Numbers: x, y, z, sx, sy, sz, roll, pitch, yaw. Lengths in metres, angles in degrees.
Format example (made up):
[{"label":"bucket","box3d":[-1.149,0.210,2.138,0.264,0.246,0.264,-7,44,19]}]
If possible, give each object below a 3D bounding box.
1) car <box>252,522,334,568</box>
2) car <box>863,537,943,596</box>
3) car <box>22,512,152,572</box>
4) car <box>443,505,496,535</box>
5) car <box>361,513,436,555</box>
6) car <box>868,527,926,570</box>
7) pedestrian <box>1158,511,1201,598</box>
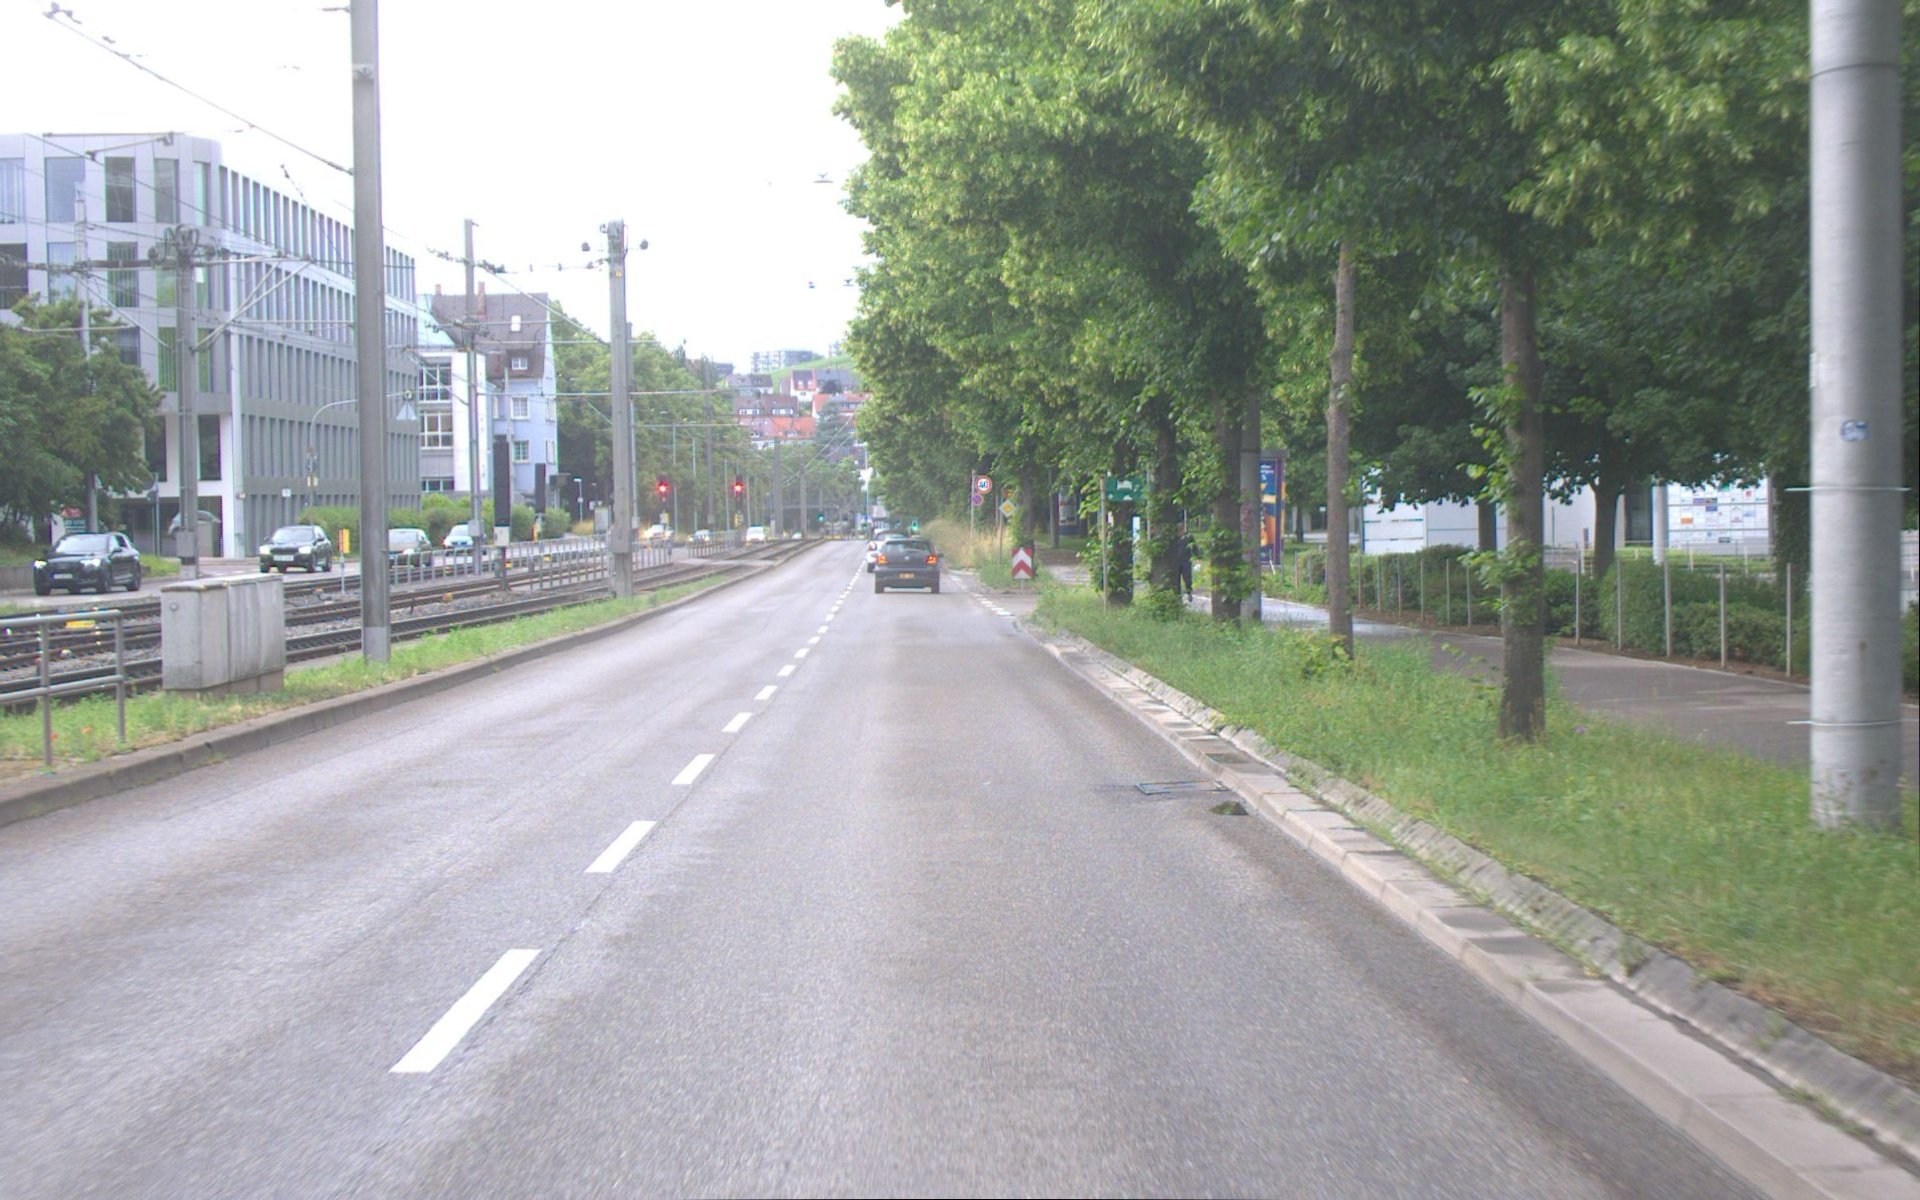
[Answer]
[{"label":"car","box3d":[-23.502,-1.955,121.272,1.948,1.590,4.847,-1,1,0]},{"label":"car","box3d":[-1.459,-0.888,88.777,1.982,1.435,4.474,-1,1,-1]},{"label":"car","box3d":[-24.058,-1.624,94.927,2.089,1.583,5.158,-1,1,2]},{"label":"car","box3d":[-23.050,-3.765,161.648,1.761,1.392,3.900,-1,1,2]},{"label":"car","box3d":[-20.681,-2.442,126.779,1.891,1.481,4.308,-1,1,2]},{"label":"car","box3d":[-2.218,-1.833,120.931,1.982,1.435,4.474,-1,1,-1]},{"label":"pedestrian","box3d":[4.588,-0.952,72.023,0.826,1.791,0.868,0,1,0]}]
